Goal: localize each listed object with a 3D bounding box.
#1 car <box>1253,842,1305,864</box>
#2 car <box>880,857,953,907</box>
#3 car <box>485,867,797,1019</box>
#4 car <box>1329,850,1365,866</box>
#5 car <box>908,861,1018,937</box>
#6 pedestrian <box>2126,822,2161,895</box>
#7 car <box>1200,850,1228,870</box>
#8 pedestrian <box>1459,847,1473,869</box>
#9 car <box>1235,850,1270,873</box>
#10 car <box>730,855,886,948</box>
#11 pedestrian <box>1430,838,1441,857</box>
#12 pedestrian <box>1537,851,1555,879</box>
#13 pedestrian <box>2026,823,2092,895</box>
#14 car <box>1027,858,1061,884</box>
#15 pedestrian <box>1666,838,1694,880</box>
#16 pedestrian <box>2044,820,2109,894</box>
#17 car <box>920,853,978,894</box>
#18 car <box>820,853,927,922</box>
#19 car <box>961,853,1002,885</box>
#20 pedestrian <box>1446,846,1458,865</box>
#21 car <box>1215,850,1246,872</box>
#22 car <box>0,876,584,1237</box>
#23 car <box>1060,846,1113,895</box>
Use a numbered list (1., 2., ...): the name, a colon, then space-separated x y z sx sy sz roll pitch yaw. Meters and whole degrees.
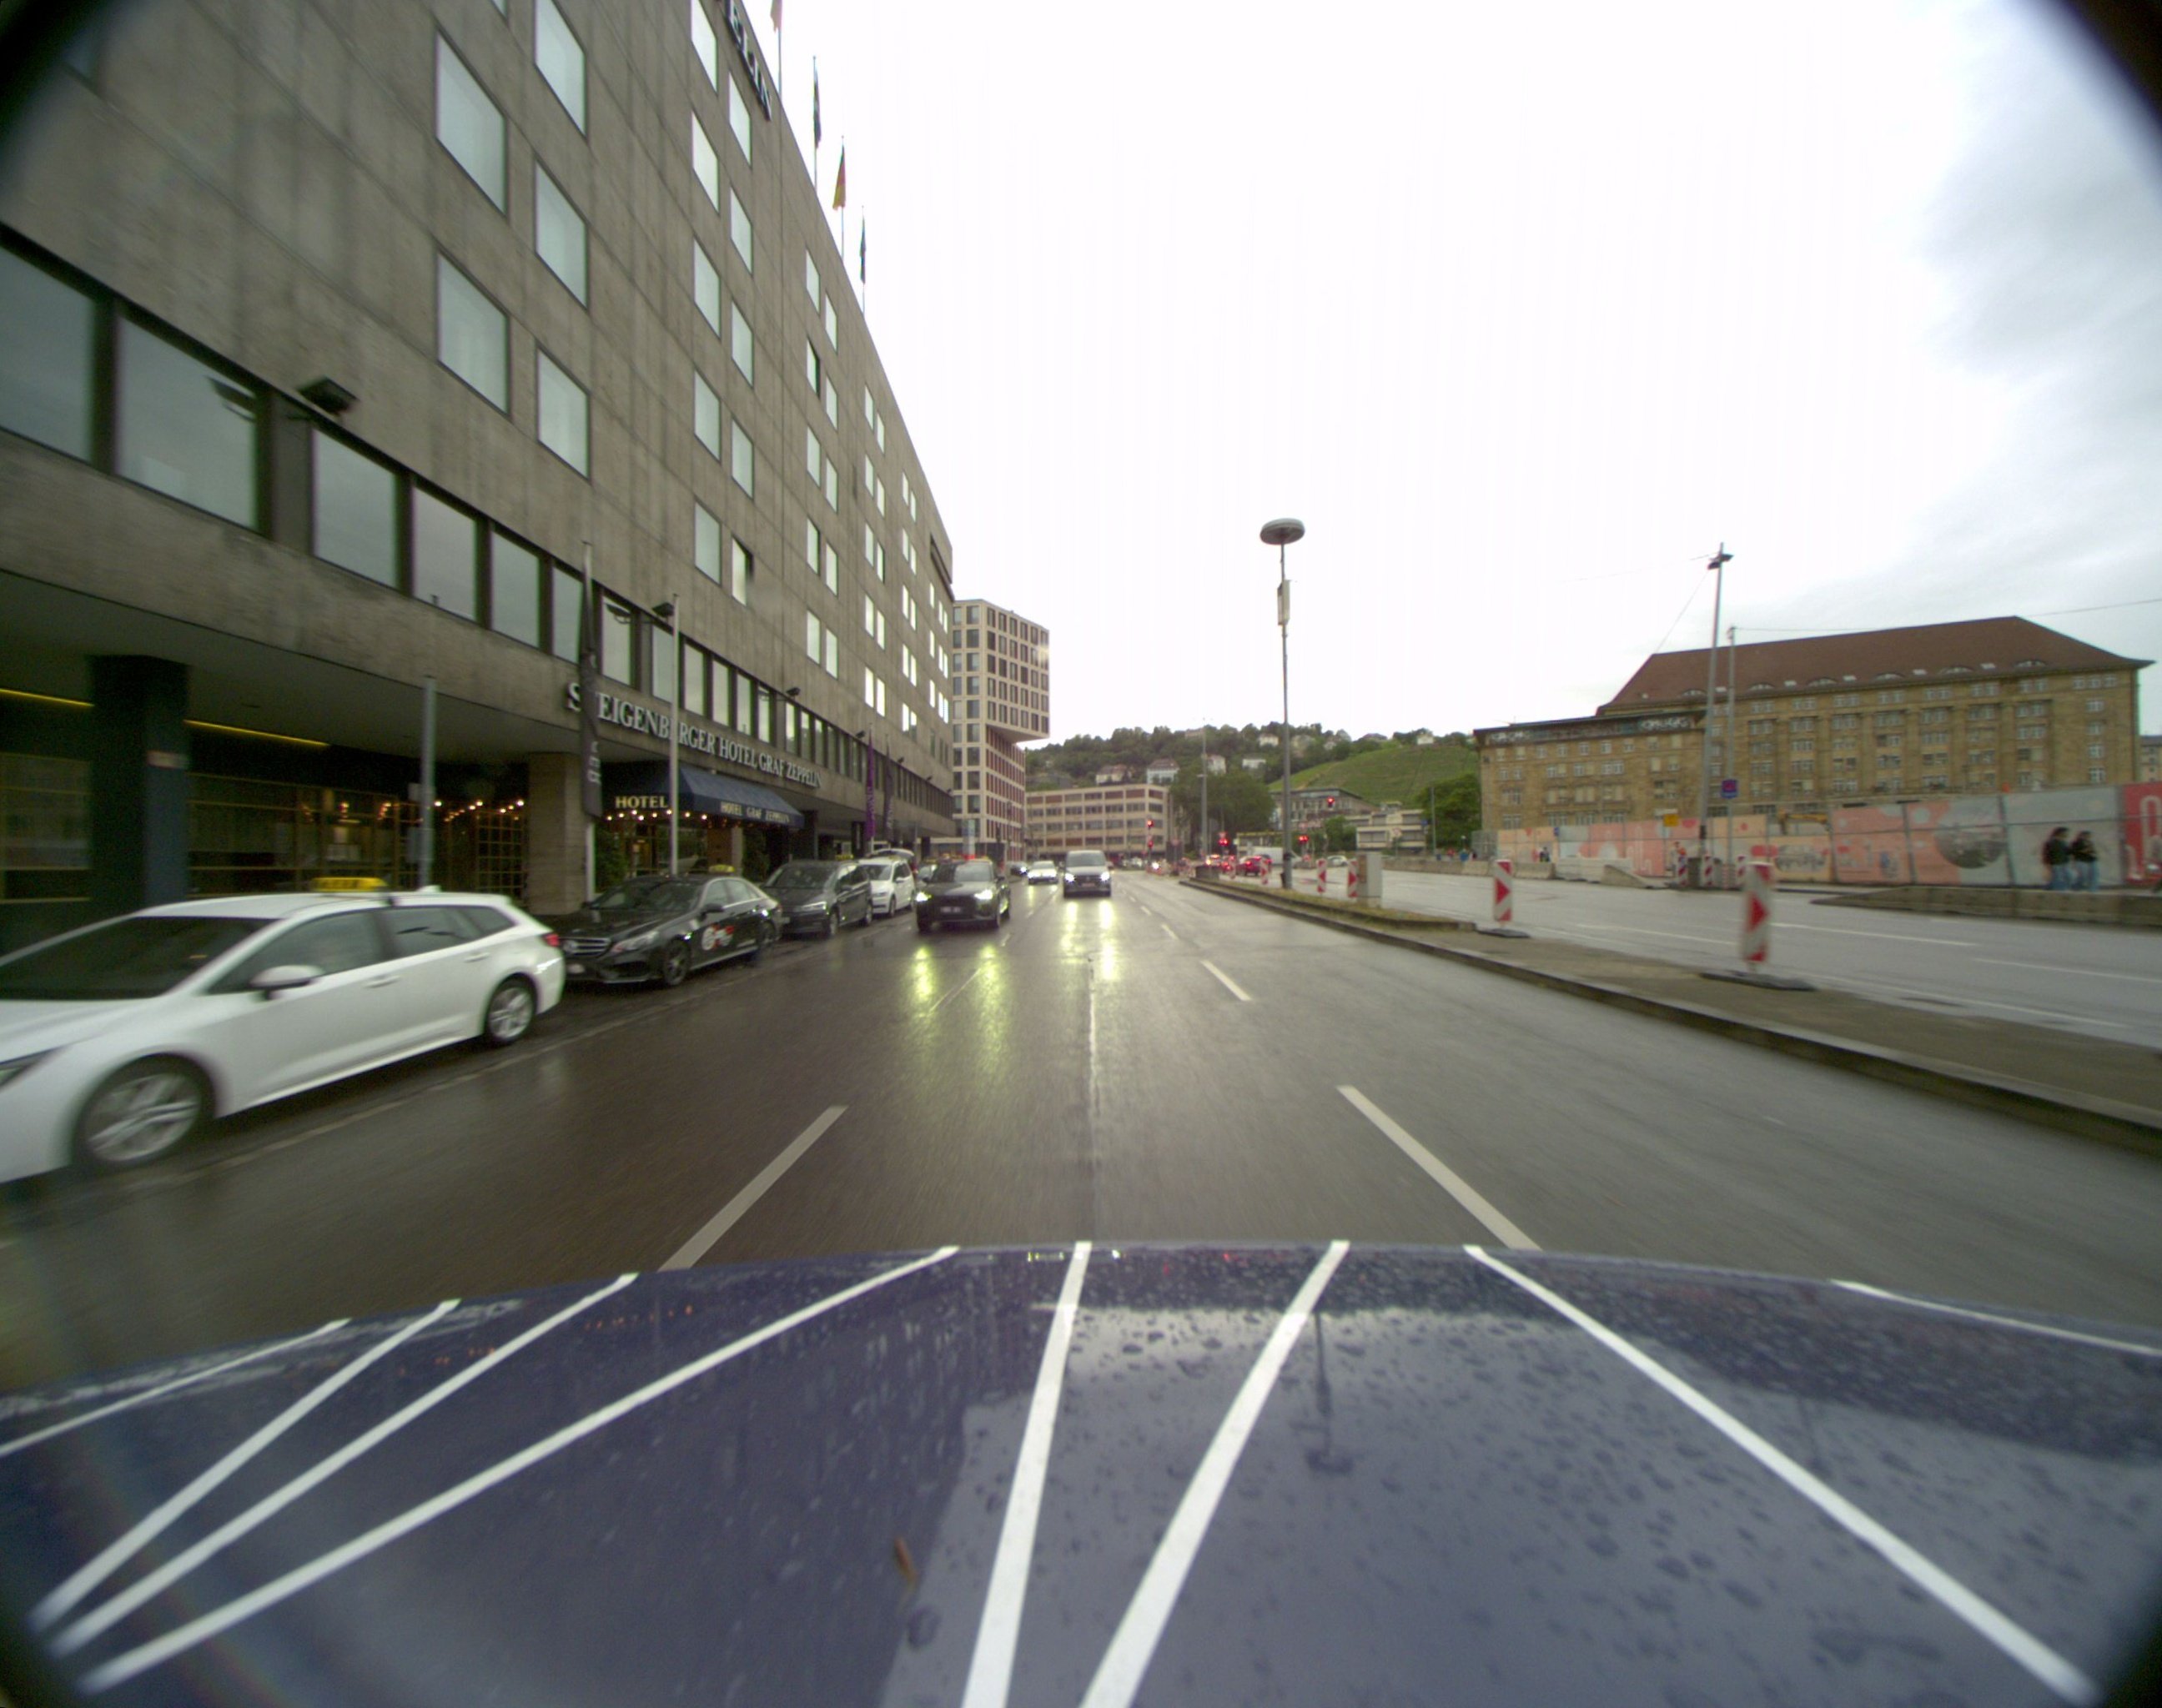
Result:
1. car: 21.864 -0.091 84.147 5.243 2.224 2.001 -2 1 6
2. car: -6.020 0.973 28.205 1.731 1.604 4.001 -2 1 1
3. car: -6.070 1.087 11.330 1.731 1.583 4.814 -2 1 1
4. car: 35.545 0.529 101.593 4.194 1.846 1.832 -2 1 6
5. car: -2.759 1.008 18.768 1.883 1.493 4.342 -2 1 2
6. pedestrian: 25.731 0.100 18.150 0.714 1.734 0.564 -2 1 21
7. car: 12.366 0.519 70.786 1.785 1.684 3.916 -2 1 -1
8. pedestrian: 29.166 0.298 57.579 0.715 1.606 0.544 -2 1 1
9. car: 12.768 0.538 56.710 1.785 1.684 3.916 -1 0 1
10. car: -6.030 0.942 17.500 1.731 1.732 4.814 -2 1 1
11. pedestrian: 30.381 -0.579 65.129 0.715 1.606 0.544 -2 1 1
12. pedestrian: 27.910 0.657 45.622 0.715 1.606 0.544 -2 1 1
13. pedestrian: 24.151 0.111 18.784 0.714 1.723 0.718 -2 1 20
14. car: -2.307 1.060 48.486 1.898 1.477 3.999 -2 1 1
15. pedestrian: 26.754 0.213 33.935 0.664 1.825 0.720 -2 1 1
16. pedestrian: 25.081 0.067 19.157 0.714 1.825 0.718 -2 1 20
17. car: -5.727 0.804 33.381 1.731 1.604 4.001 -2 1 1
18. car: -6.027 0.884 22.697 1.731 1.732 4.814 -2 1 1
19. car: -5.679 0.819 43.702 1.731 1.604 4.001 -2 1 1
20. pedestrian: 31.991 0.157 65.520 0.715 1.606 0.544 -2 1 1
21. car: 12.616 0.582 64.276 1.785 1.684 3.916 -2 1 -1
22. car: -6.112 1.077 5.515 1.731 1.583 4.814 -2 1 1
23. car: 0.280 0.623 32.371 1.998 1.849 5.160 -2 1 1
